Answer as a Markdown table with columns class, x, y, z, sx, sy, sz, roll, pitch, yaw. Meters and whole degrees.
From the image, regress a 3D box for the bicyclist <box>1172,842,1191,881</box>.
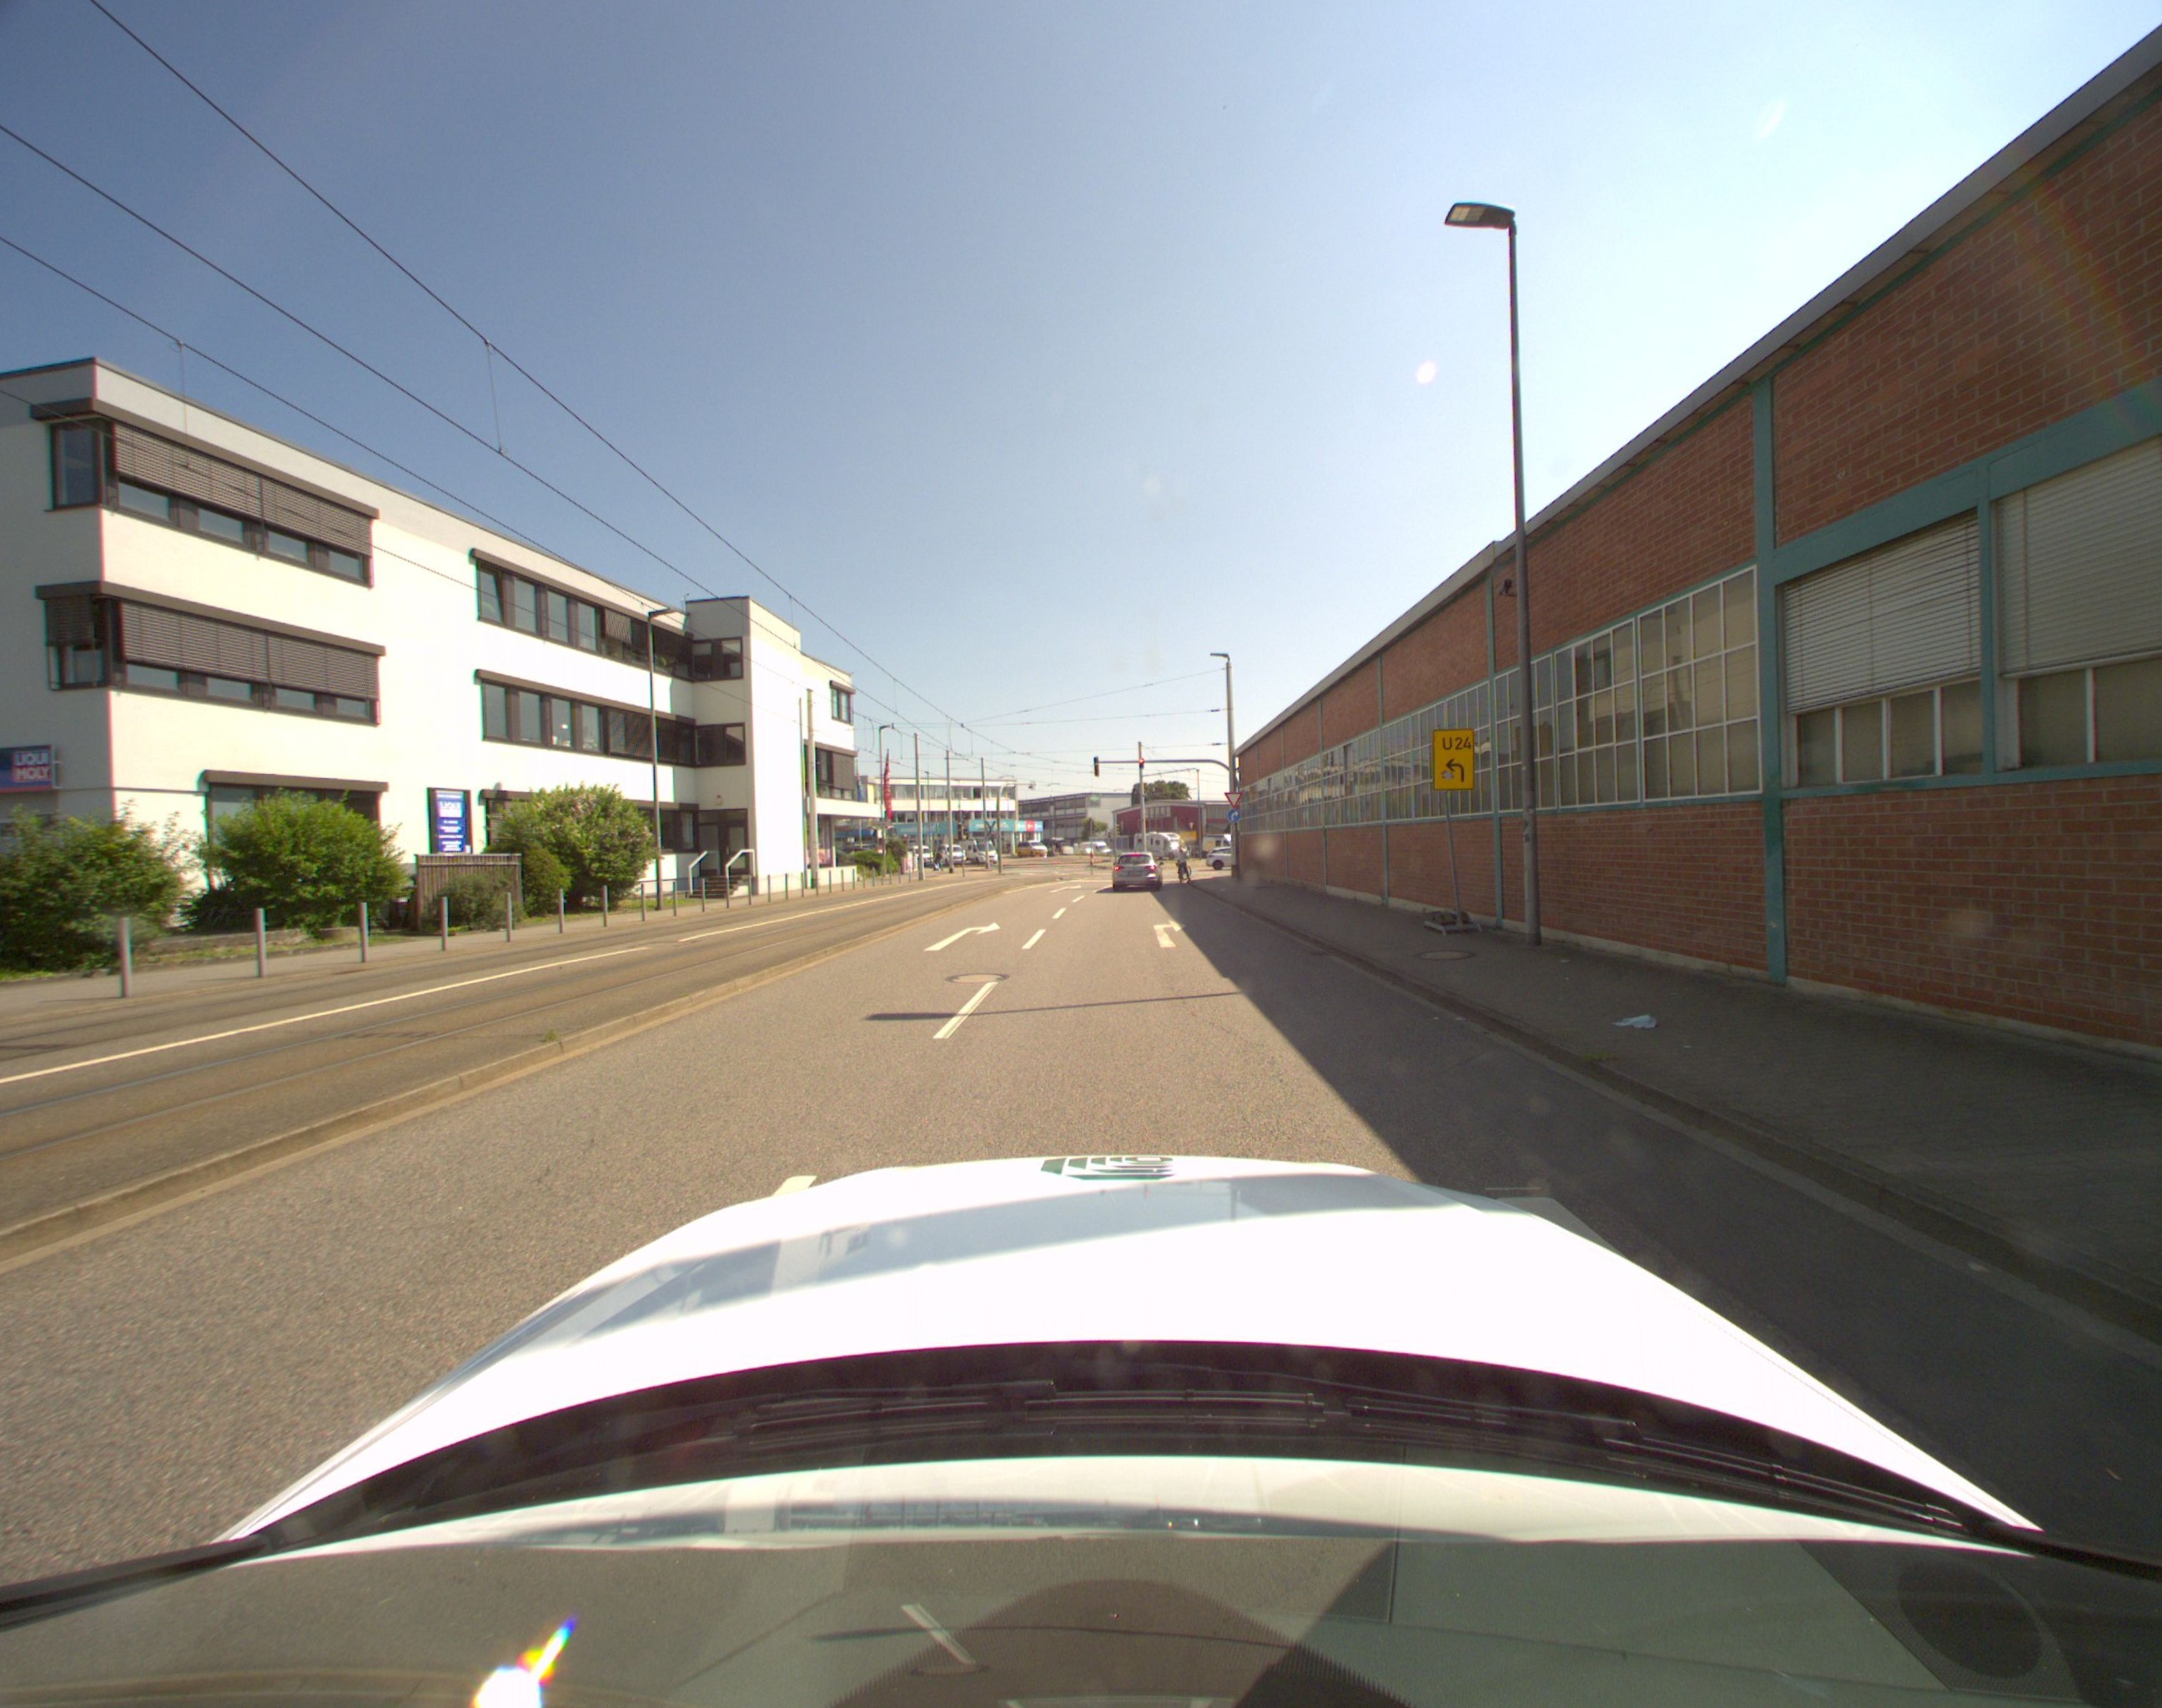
| class | x | y | z | sx | sy | sz | roll | pitch | yaw |
| --- | --- | --- | --- | --- | --- | --- | --- | --- | --- |
| bicyclist | 4.470 | 0.319 | 36.371 | 0.782 | 1.721 | 1.149 | -1 | 0 | 6 |

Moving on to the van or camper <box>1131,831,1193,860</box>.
| class | x | y | z | sx | sy | sz | roll | pitch | yaw |
| --- | --- | --- | --- | --- | --- | --- | --- | --- | --- |
| van or camper | 8.538 | -0.957 | 86.922 | 2.366 | 2.930 | 6.906 | -3 | 3 | -39 |

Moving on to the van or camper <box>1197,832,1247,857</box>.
| class | x | y | z | sx | sy | sz | roll | pitch | yaw |
| --- | --- | --- | --- | --- | --- | --- | --- | --- | --- |
| van or camper | 15.169 | -1.069 | 88.085 | 2.298 | 2.439 | 5.332 | -3 | 4 | -33 |

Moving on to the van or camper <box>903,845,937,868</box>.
| class | x | y | z | sx | sy | sz | roll | pitch | yaw |
| --- | --- | --- | --- | --- | --- | --- | --- | --- | --- |
| van or camper | -15.946 | 0.177 | 80.581 | 2.005 | 2.013 | 4.721 | -3 | 3 | -27 |

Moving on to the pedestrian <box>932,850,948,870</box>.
| class | x | y | z | sx | sy | sz | roll | pitch | yaw |
| --- | --- | --- | --- | --- | --- | --- | --- | --- | --- |
| pedestrian | -10.472 | 0.419 | 60.487 | 1.128 | 1.454 | 0.836 | -2 | 0 | -7 |

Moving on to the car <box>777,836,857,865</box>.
| class | x | y | z | sx | sy | sz | roll | pitch | yaw |
| --- | --- | --- | --- | --- | --- | --- | --- | --- | --- |
| car | -15.453 | -0.187 | 47.766 | 3.967 | 1.563 | 2.003 | -1 | 0 | 5 |

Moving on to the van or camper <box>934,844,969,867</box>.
| class | x | y | z | sx | sy | sz | roll | pitch | yaw |
| --- | --- | --- | --- | --- | --- | --- | --- | --- | --- |
| van or camper | -12.883 | 0.121 | 80.870 | 2.005 | 2.013 | 4.967 | -3 | 3 | -27 |

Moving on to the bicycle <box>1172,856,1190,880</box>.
| class | x | y | z | sx | sy | sz | roll | pitch | yaw |
| --- | --- | --- | --- | --- | --- | --- | --- | --- | --- |
| bicycle | 4.500 | 0.614 | 36.685 | 0.790 | 1.021 | 2.155 | -1 | 0 | 7 |

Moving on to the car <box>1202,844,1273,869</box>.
| class | x | y | z | sx | sy | sz | roll | pitch | yaw |
| --- | --- | --- | --- | --- | --- | --- | --- | --- | --- |
| car | 9.588 | 0.151 | 50.058 | 4.166 | 1.374 | 1.808 | -2 | 0 | 9 |

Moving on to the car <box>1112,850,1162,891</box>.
| class | x | y | z | sx | sy | sz | roll | pitch | yaw |
| --- | --- | --- | --- | --- | --- | --- | --- | --- | --- |
| car | 2.258 | 0.584 | 31.944 | 1.737 | 1.459 | 4.008 | -2 | 0 | 7 |

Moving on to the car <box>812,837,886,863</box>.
| class | x | y | z | sx | sy | sz | roll | pitch | yaw |
| --- | --- | --- | --- | --- | --- | --- | --- | --- | --- |
| car | -14.723 | -0.281 | 51.827 | 3.967 | 1.518 | 2.004 | -1 | 2 | 5 |

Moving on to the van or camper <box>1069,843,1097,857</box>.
| class | x | y | z | sx | sy | sz | roll | pitch | yaw |
| --- | --- | --- | --- | --- | --- | --- | --- | --- | --- |
| van or camper | 0.237 | -0.559 | 121.962 | 2.011 | 1.947 | 3.951 | -1 | 0 | -43 |

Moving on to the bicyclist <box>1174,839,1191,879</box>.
| class | x | y | z | sx | sy | sz | roll | pitch | yaw |
| --- | --- | --- | --- | --- | --- | --- | --- | --- | --- |
| bicyclist | 4.727 | 0.235 | 38.015 | 0.704 | 1.810 | 0.984 | -1 | 0 | 5 |

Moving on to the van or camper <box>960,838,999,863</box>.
| class | x | y | z | sx | sy | sz | roll | pitch | yaw |
| --- | --- | --- | --- | --- | --- | --- | --- | --- | --- |
| van or camper | -10.255 | -0.384 | 82.134 | 2.042 | 2.295 | 5.762 | -3 | 3 | -27 |

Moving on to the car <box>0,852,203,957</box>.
| class | x | y | z | sx | sy | sz | roll | pitch | yaw |
| --- | --- | --- | --- | --- | --- | --- | --- | --- | --- |
| car | -16.572 | 0.780 | 12.881 | 3.614 | 1.529 | 1.474 | -1 | 0 | -2 |

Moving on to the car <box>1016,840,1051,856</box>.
| class | x | y | z | sx | sy | sz | roll | pitch | yaw |
| --- | --- | --- | --- | --- | --- | --- | --- | --- | --- |
| car | -5.642 | -0.688 | 95.909 | 1.951 | 1.759 | 5.072 | -2 | 0 | -30 |
